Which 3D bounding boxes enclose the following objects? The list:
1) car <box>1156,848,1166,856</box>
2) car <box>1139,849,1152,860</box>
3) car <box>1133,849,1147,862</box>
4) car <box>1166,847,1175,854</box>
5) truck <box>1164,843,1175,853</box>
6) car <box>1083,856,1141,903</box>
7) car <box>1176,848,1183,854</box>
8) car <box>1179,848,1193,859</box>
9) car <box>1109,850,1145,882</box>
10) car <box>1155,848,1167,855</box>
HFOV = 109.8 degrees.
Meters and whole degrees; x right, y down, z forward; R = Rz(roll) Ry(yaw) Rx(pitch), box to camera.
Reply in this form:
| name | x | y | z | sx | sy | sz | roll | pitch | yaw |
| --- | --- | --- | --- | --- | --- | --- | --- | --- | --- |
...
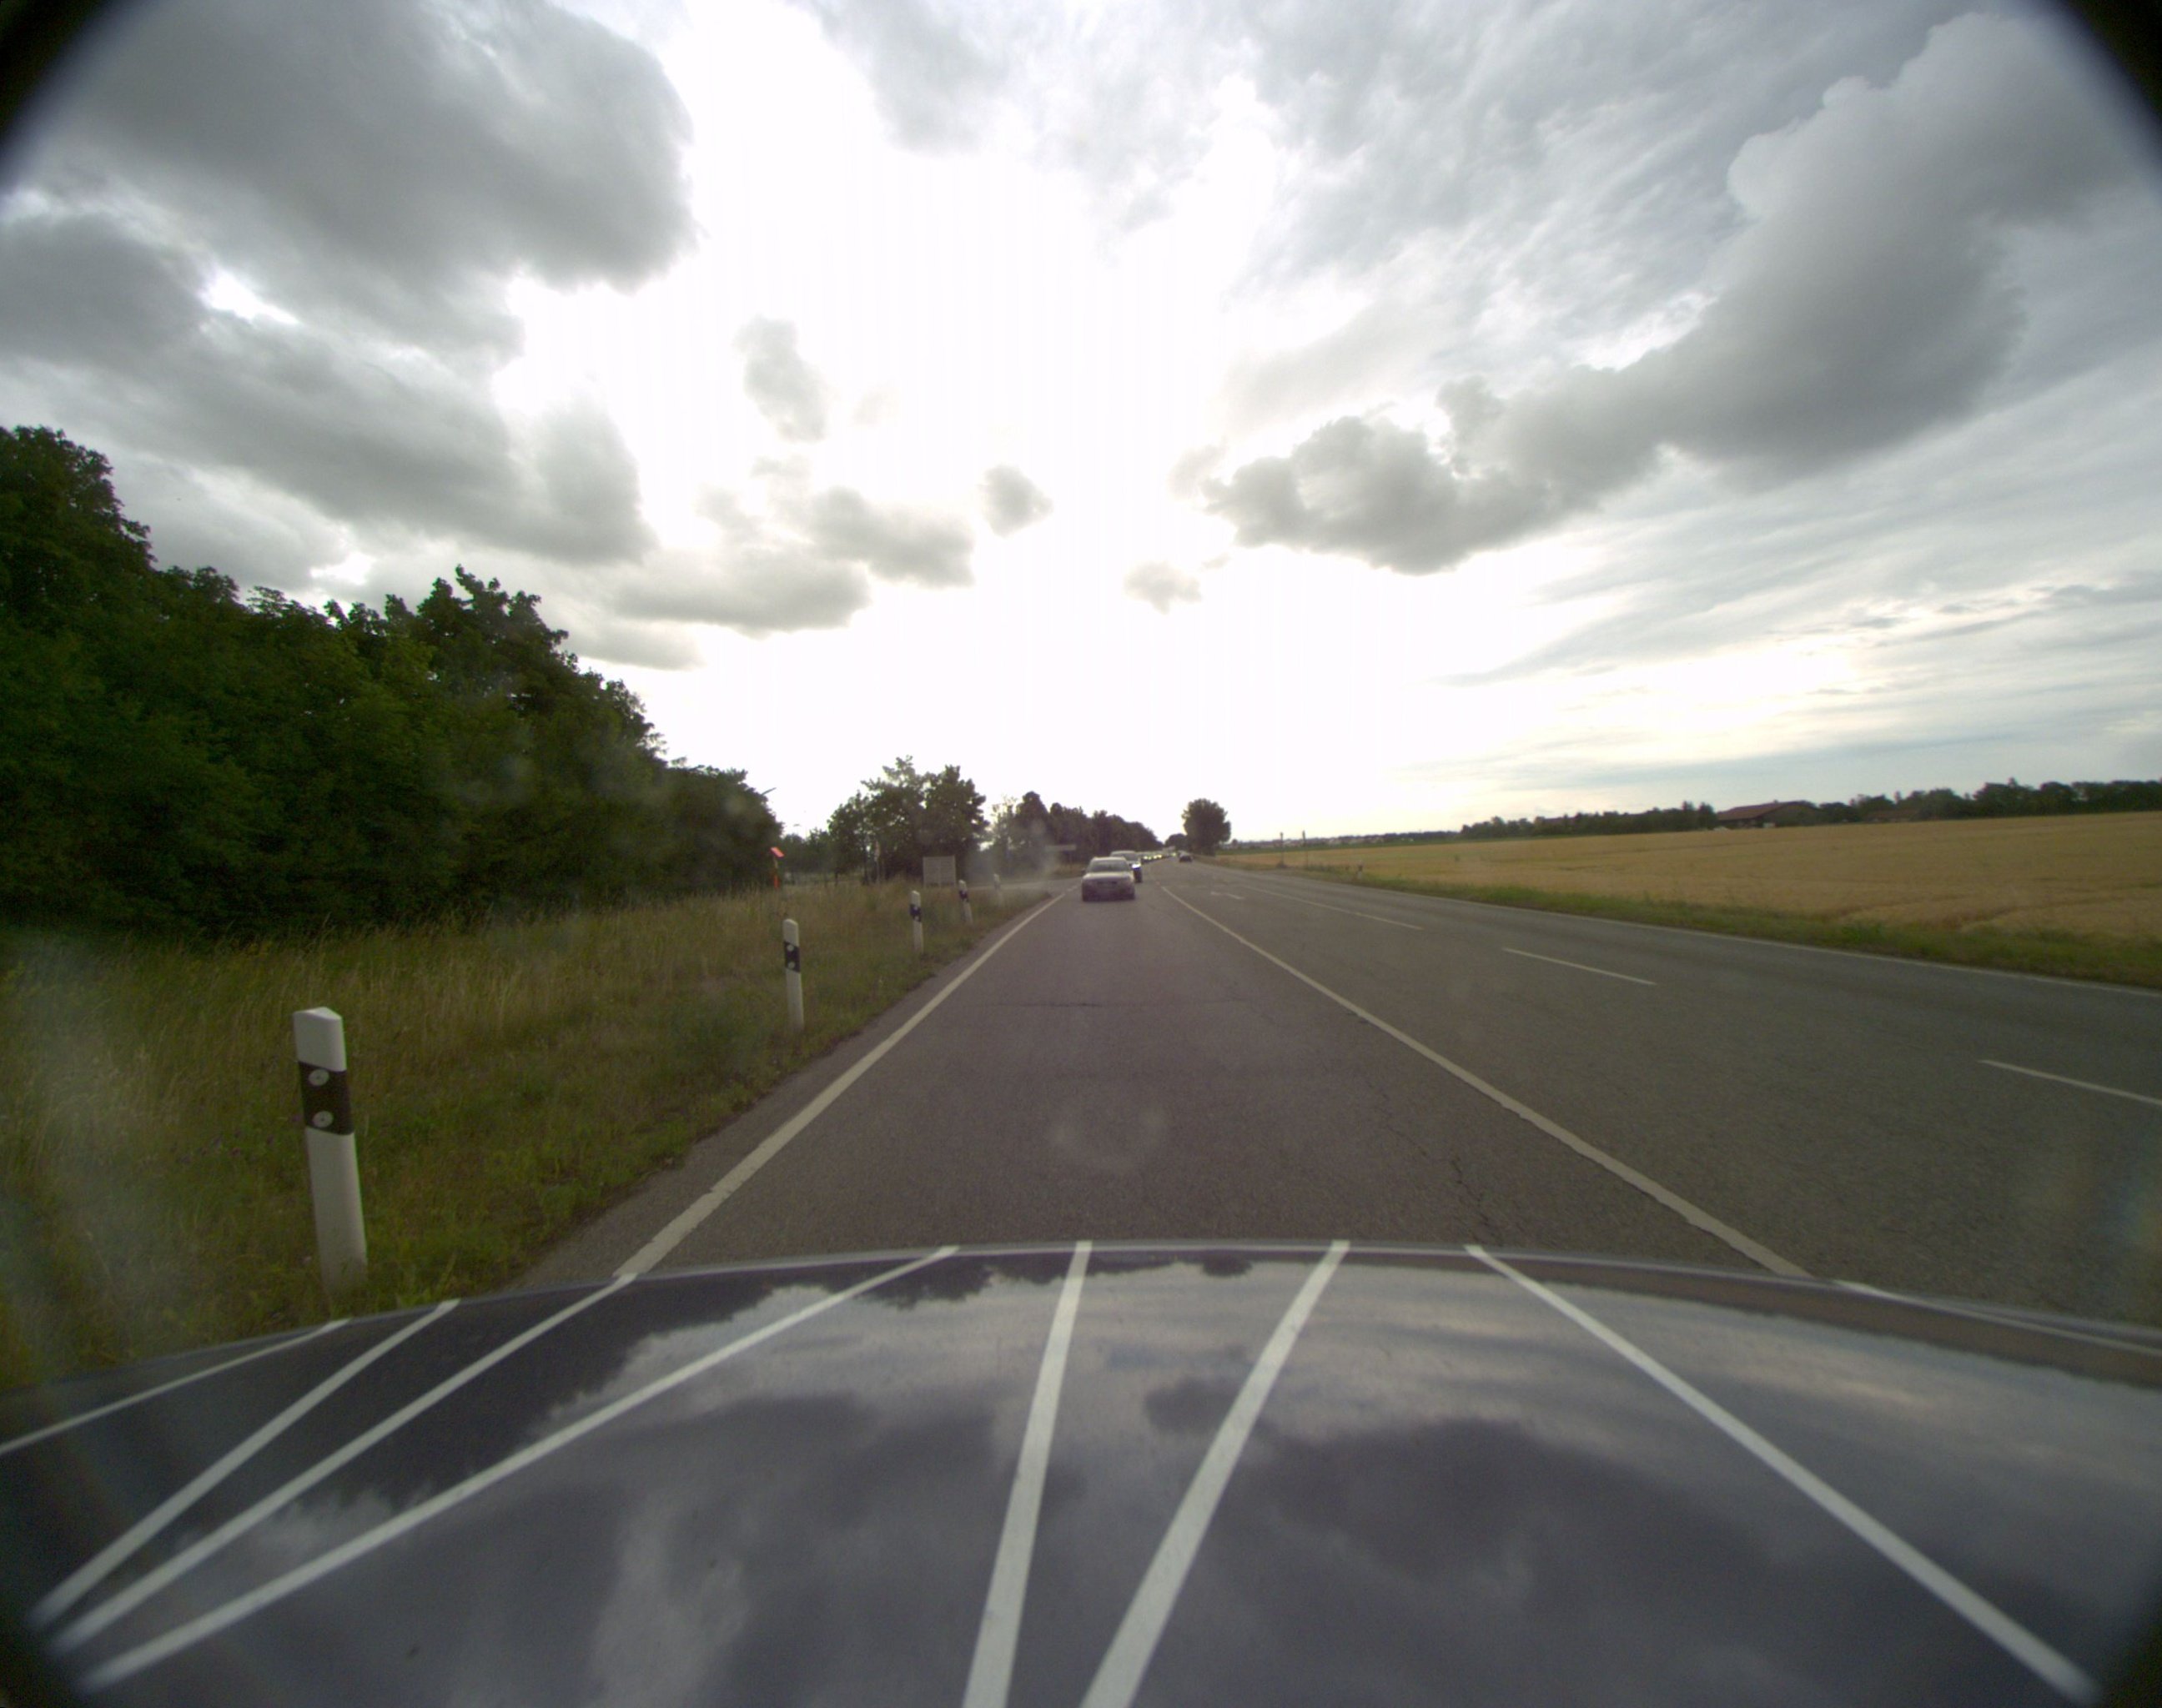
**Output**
| name | x | y | z | sx | sy | sz | roll | pitch | yaw |
| --- | --- | --- | --- | --- | --- | --- | --- | --- | --- |
| car | 16.759 | -0.504 | 159.467 | 1.792 | 1.573 | 4.140 | -2 | 0 | 11 |
| car | 9.583 | 0.073 | 112.120 | 1.793 | 1.573 | 4.189 | -2 | 0 | 6 |
| car | 7.862 | 0.184 | 100.923 | 1.793 | 1.573 | 4.369 | -2 | 0 | 6 |
| car | 23.003 | -0.925 | 195.970 | 1.792 | 1.531 | 4.140 | -2 | 0 | 13 |
| truck | 25.582 | -1.831 | 219.870 | 2.318 | 2.749 | 7.679 | -2 | 0 | 12 |
| car | 1.066 | 0.819 | 26.313 | 1.793 | 1.415 | 4.368 | -2 | 0 | 2 |
| car | 26.544 | -0.798 | 204.710 | 1.951 | 1.684 | 4.449 | -2 | 0 | 8 |
| car | 15.366 | -0.089 | 111.293 | 1.830 | 1.402 | 4.426 | -3 | 1 | 8 |
| car | 2.485 | 0.614 | 41.423 | 1.793 | 1.573 | 4.368 | -2 | 0 | 2 |
| car | 17.614 | -0.541 | 167.269 | 1.953 | 1.573 | 4.140 | -2 | 0 | 12 |
